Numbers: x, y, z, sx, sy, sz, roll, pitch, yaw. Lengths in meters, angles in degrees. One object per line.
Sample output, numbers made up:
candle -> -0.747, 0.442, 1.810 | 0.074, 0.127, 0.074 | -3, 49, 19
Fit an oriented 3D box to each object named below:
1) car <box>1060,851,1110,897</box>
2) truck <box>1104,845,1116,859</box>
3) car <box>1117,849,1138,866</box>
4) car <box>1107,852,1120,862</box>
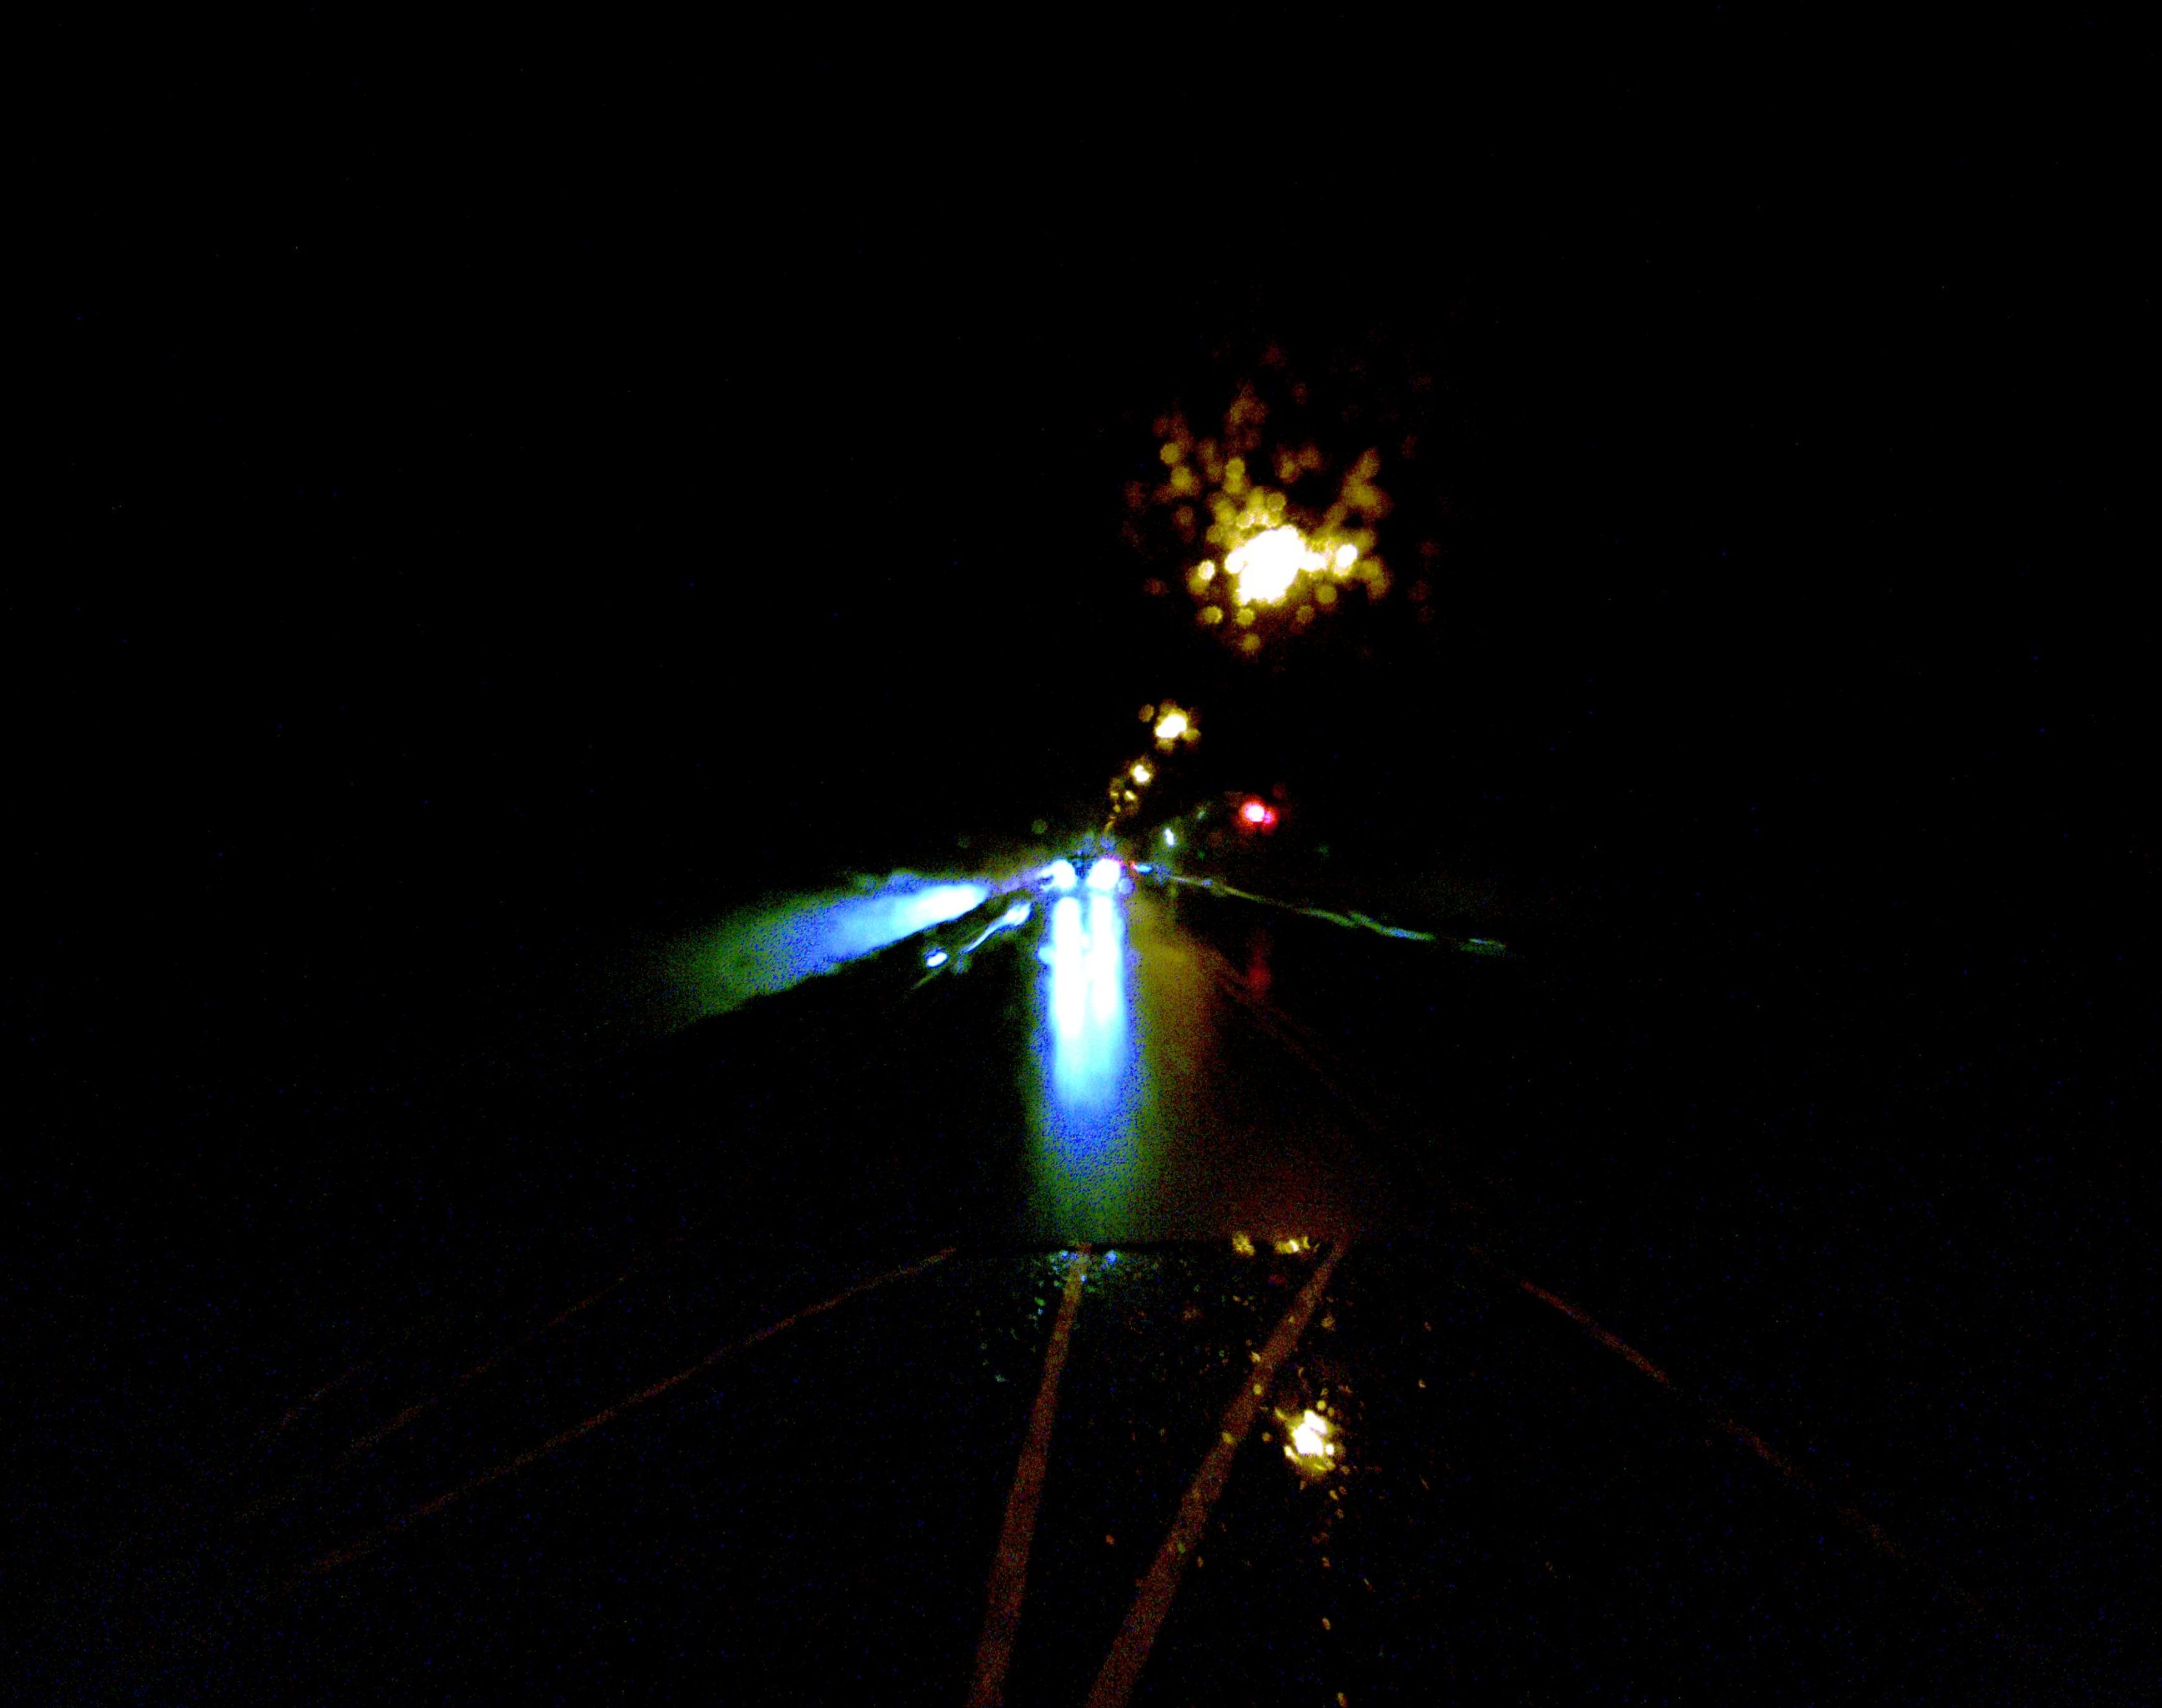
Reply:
car -> 0.175, 0.757, 31.103 | 1.829, 1.650, 3.929 | -3, 1, 1
truck -> 6.632, -0.477, 175.976 | 2.285, 2.999, 6.593 | -4, 0, 0
car -> 4.658, 0.315, 76.071 | 1.761, 1.519, 3.814 | -5, 0, 1
car -> 5.145, 0.493, 120.251 | 1.799, 1.474, 3.868 | -4, 0, 0
